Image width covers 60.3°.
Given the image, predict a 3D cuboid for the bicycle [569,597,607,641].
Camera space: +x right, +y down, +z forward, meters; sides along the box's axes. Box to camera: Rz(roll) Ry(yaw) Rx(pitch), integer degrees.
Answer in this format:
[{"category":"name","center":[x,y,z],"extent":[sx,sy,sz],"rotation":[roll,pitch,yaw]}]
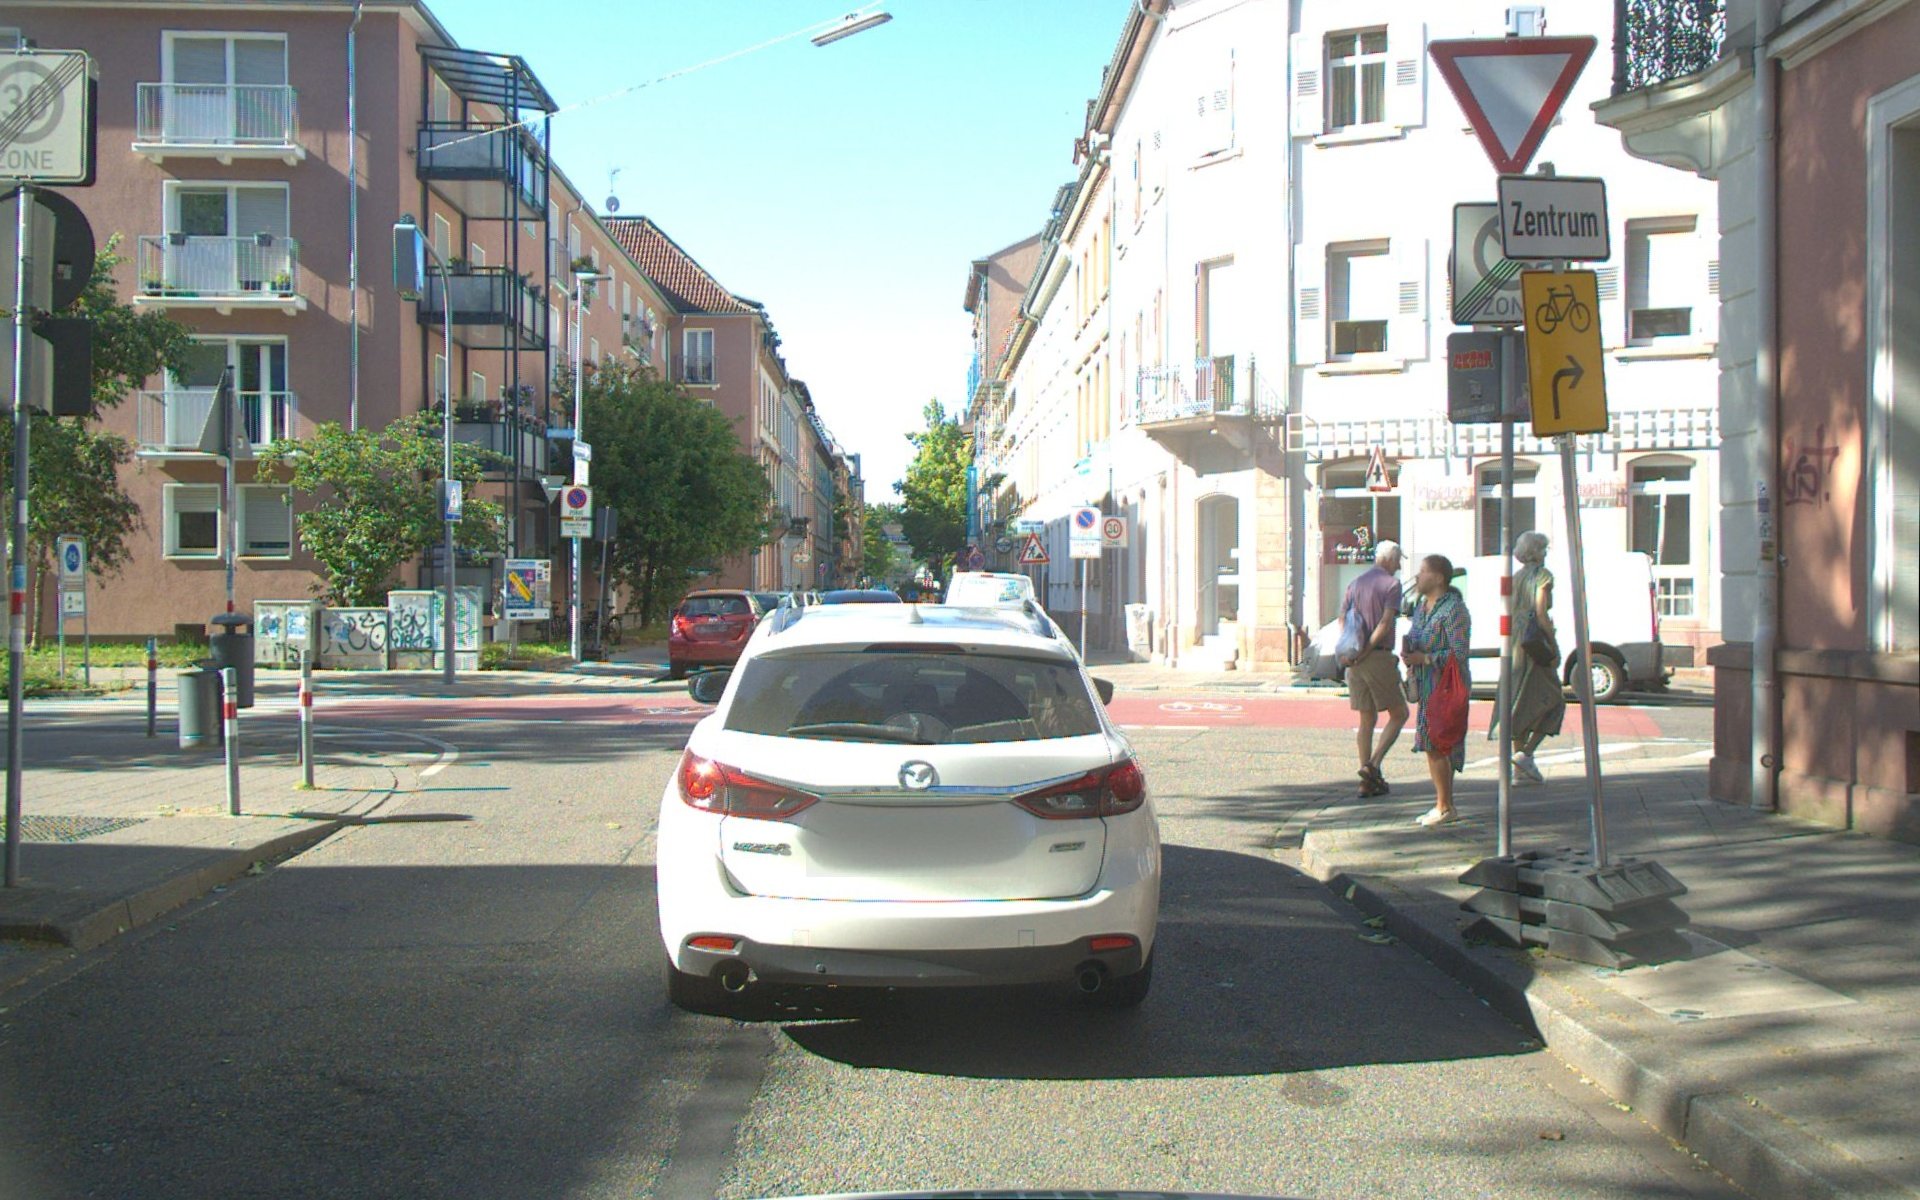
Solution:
[{"category":"bicycle","center":[-9.466,0.479,42.053],"extent":[1.196,1.090,0.252],"rotation":[0,0,38]}]

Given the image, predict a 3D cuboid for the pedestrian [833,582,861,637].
[{"category":"pedestrian","center":[-3.440,0.286,50.240],"extent":[0.720,1.642,0.813],"rotation":[-1,0,-14]}]

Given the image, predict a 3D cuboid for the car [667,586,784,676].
[{"category":"car","center":[-4.254,0.518,30.518],"extent":[1.650,1.526,3.806],"rotation":[-1,0,-1]}]

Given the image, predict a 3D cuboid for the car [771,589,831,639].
[{"category":"car","center":[-5.011,0.414,52.482],"extent":[1.620,1.526,3.762],"rotation":[0,0,-1]}]

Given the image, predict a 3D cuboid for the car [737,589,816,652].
[{"category":"car","center":[-4.594,0.488,41.795],"extent":[1.620,1.526,3.762],"rotation":[0,0,-1]}]

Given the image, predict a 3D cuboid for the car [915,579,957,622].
[{"category":"car","center":[-1.085,0.006,75.402],"extent":[1.856,1.891,3.994],"rotation":[0,0,-1]}]

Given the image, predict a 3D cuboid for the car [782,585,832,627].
[{"category":"car","center":[-5.765,0.221,62.582],"extent":[1.620,1.526,3.762],"rotation":[0,0,-1]}]

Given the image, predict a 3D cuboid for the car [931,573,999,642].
[{"category":"car","center":[0.106,0.186,46.928],"extent":[1.856,1.891,3.994],"rotation":[0,0,-1]}]

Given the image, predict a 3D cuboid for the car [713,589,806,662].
[{"category":"car","center":[-4.368,0.518,36.532],"extent":[1.620,1.526,4.079],"rotation":[0,0,-1]}]

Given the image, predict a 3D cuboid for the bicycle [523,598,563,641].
[{"category":"bicycle","center":[-10.363,0.470,41.106],"extent":[1.193,1.053,0.290],"rotation":[0,0,38]}]

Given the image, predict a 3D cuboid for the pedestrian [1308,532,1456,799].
[{"category":"pedestrian","center":[2.990,0.445,11.790],"extent":[0.734,1.795,0.830],"rotation":[-3,0,-1]}]

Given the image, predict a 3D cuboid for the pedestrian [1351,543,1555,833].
[{"category":"pedestrian","center":[2.949,0.509,9.974],"extent":[0.827,1.600,0.846],"rotation":[-5,-1,-1]}]

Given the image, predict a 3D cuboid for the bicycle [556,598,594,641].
[{"category":"bicycle","center":[-9.745,0.490,41.893],"extent":[1.193,1.090,0.252],"rotation":[0,0,38]}]

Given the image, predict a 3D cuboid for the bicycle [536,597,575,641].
[{"category":"bicycle","center":[-10.132,0.472,41.406],"extent":[1.193,1.091,0.265],"rotation":[0,0,38]}]

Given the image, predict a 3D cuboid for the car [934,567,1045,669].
[{"category":"car","center":[0.534,0.336,34.282],"extent":[1.857,1.891,5.010],"rotation":[2,0,-4]}]

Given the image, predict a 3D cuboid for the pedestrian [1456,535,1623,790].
[{"category":"pedestrian","center":[4.076,0.437,11.684],"extent":[0.819,1.696,0.626],"rotation":[-4,-2,-1]}]

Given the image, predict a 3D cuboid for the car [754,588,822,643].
[{"category":"car","center":[-4.981,0.431,48.276],"extent":[1.620,1.526,3.762],"rotation":[0,0,-1]}]

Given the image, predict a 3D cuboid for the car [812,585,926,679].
[{"category":"car","center":[-1.445,0.477,27.541],"extent":[1.725,1.434,4.327],"rotation":[0,0,-1]}]

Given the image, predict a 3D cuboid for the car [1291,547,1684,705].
[{"category":"car","center":[7.155,0.313,22.583],"extent":[4.906,1.980,2.051],"rotation":[0,0,21]}]

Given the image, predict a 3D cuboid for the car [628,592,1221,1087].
[{"category":"car","center":[-0.136,0.715,6.999],"extent":[1.794,1.482,3.961],"rotation":[0,0,-1]}]

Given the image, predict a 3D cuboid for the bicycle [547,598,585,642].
[{"category":"bicycle","center":[-9.932,0.496,41.653],"extent":[1.193,1.089,0.252],"rotation":[0,0,38]}]
